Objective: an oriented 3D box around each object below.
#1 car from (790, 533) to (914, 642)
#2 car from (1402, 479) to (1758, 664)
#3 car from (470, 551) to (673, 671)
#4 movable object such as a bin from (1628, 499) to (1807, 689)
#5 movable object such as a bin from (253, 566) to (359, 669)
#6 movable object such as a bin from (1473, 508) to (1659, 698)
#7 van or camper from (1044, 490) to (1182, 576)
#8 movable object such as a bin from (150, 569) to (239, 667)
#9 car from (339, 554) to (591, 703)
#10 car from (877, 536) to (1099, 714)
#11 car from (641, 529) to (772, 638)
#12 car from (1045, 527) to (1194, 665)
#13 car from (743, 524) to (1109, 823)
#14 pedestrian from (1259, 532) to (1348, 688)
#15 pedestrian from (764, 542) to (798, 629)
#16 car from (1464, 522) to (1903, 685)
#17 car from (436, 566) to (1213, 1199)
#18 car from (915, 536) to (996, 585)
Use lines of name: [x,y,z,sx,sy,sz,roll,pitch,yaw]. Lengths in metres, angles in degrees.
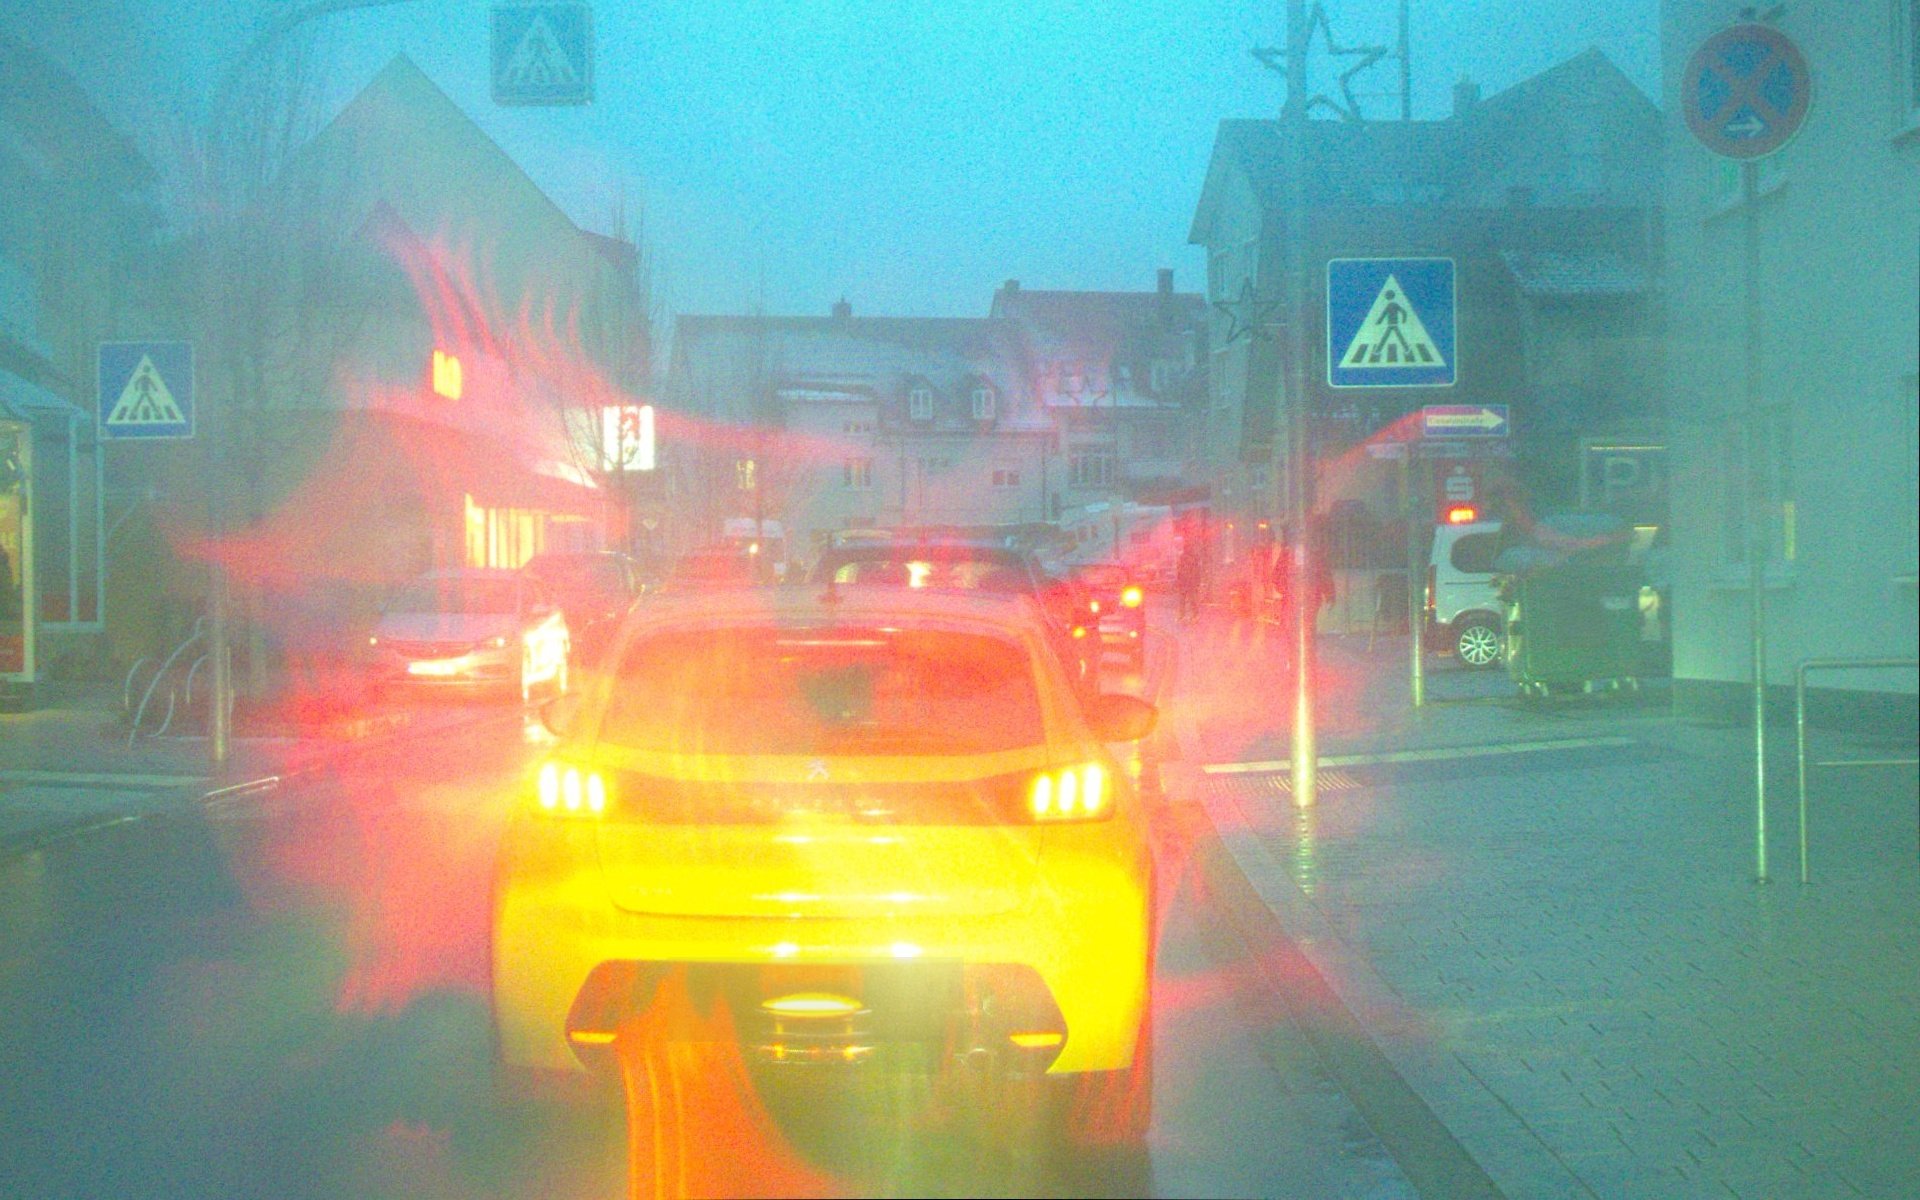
car: [-1.874,-0.261,60.919,1.993,1.700,4.967,2,2,0]
car: [7.519,-0.348,41.801,4.092,2.042,1.999,-2,1,10]
car: [-5.131,0.116,46.067,1.993,1.517,4.977,0,1,2]
movable object such as a bin: [6.863,-0.065,31.223,1.285,1.638,1.185,-3,1,-1]
movable object such as a bin: [-9.151,0.245,48.145,1.340,1.349,0.889,-3,0,-7]
movable object such as a bin: [5.502,0.015,31.303,1.393,1.638,1.262,-3,1,-1]
van or camper: [5.814,-2.546,131.686,2.650,3.037,6.736,-4,2,-21]
movable object such as a bin: [-10.687,0.251,47.999,1.149,1.349,0.852,0,1,-8]
car: [-5.529,0.274,38.956,1.994,1.553,4.620,1,1,2]
car: [0.210,0.204,33.143,1.993,1.583,4.000,1,1,-1]
car: [-4.319,-0.317,59.225,2.085,1.786,5.024,0,1,-2]
car: [2.231,-0.072,49.014,1.993,1.851,4.000,1,1,1]
car: [-0.233,0.387,20.910,1.992,1.619,4.000,1,1,-1]
pedestrian: [4.230,0.118,42.420,0.966,1.883,1.006,1,0,-1]
pedestrian: [-3.282,-0.272,63.060,0.574,1.580,0.530,0,2,3]
car: [7.035,0.040,33.756,3.987,1.481,1.912,-1,0,5]
car: [-0.383,0.679,10.110,1.814,1.528,4.000,1,1,-2]
car: [-0.181,-1.519,130.775,1.993,1.759,4.352,-2,1,-15]
